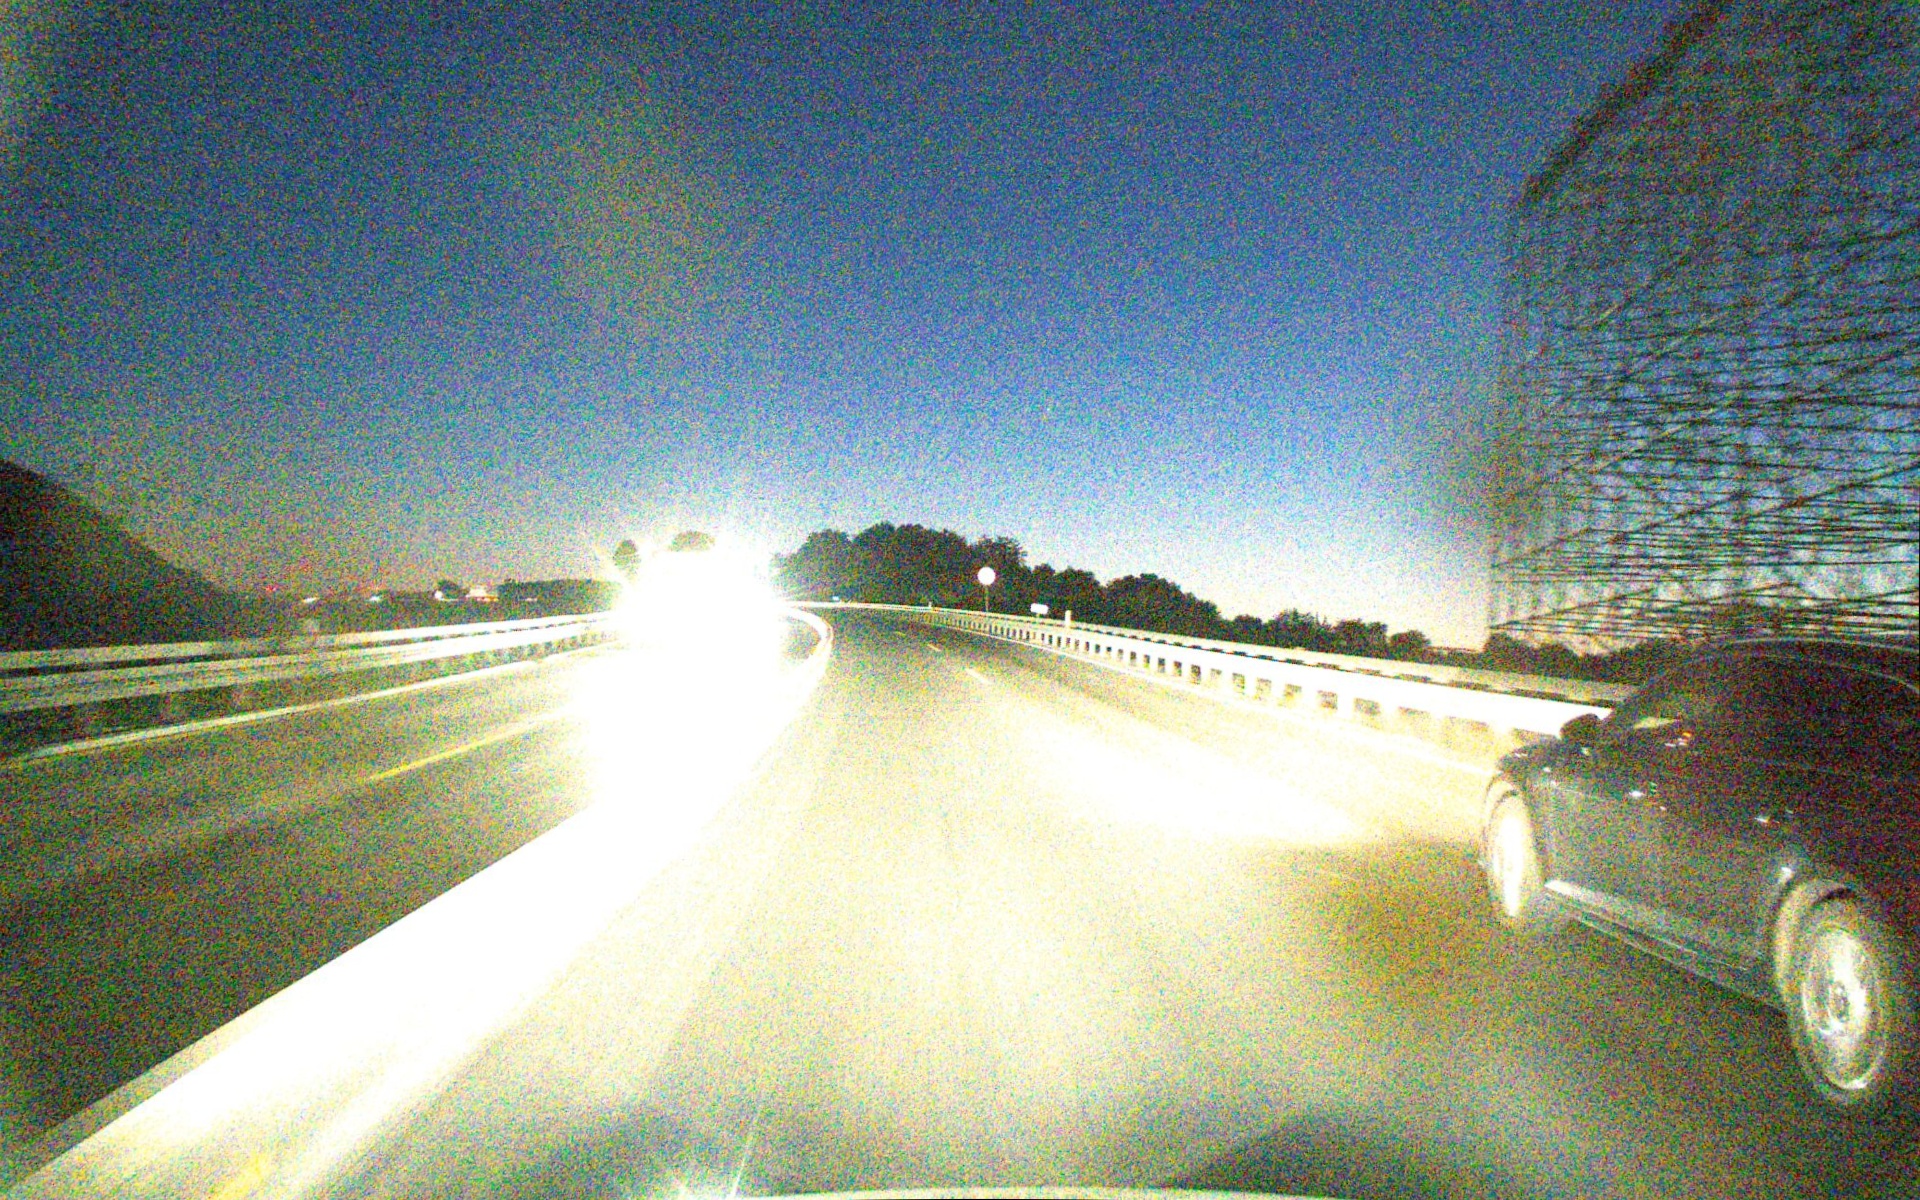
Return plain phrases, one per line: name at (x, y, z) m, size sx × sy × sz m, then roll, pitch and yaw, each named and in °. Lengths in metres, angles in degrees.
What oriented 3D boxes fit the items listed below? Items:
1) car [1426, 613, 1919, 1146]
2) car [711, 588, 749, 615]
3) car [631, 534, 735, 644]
car at (3.465, 0.791, 6.382) m, size 1.772 × 1.451 × 4.872 m, roll 0°, pitch 0°, yaw -3°
car at (-13.048, 0.060, 94.070) m, size 1.875 × 1.451 × 4.947 m, roll 0°, pitch 1°, yaw -5°
car at (-8.435, -0.259, 50.999) m, size 2.437 × 3.160 × 7.379 m, roll 0°, pitch -1°, yaw -4°
